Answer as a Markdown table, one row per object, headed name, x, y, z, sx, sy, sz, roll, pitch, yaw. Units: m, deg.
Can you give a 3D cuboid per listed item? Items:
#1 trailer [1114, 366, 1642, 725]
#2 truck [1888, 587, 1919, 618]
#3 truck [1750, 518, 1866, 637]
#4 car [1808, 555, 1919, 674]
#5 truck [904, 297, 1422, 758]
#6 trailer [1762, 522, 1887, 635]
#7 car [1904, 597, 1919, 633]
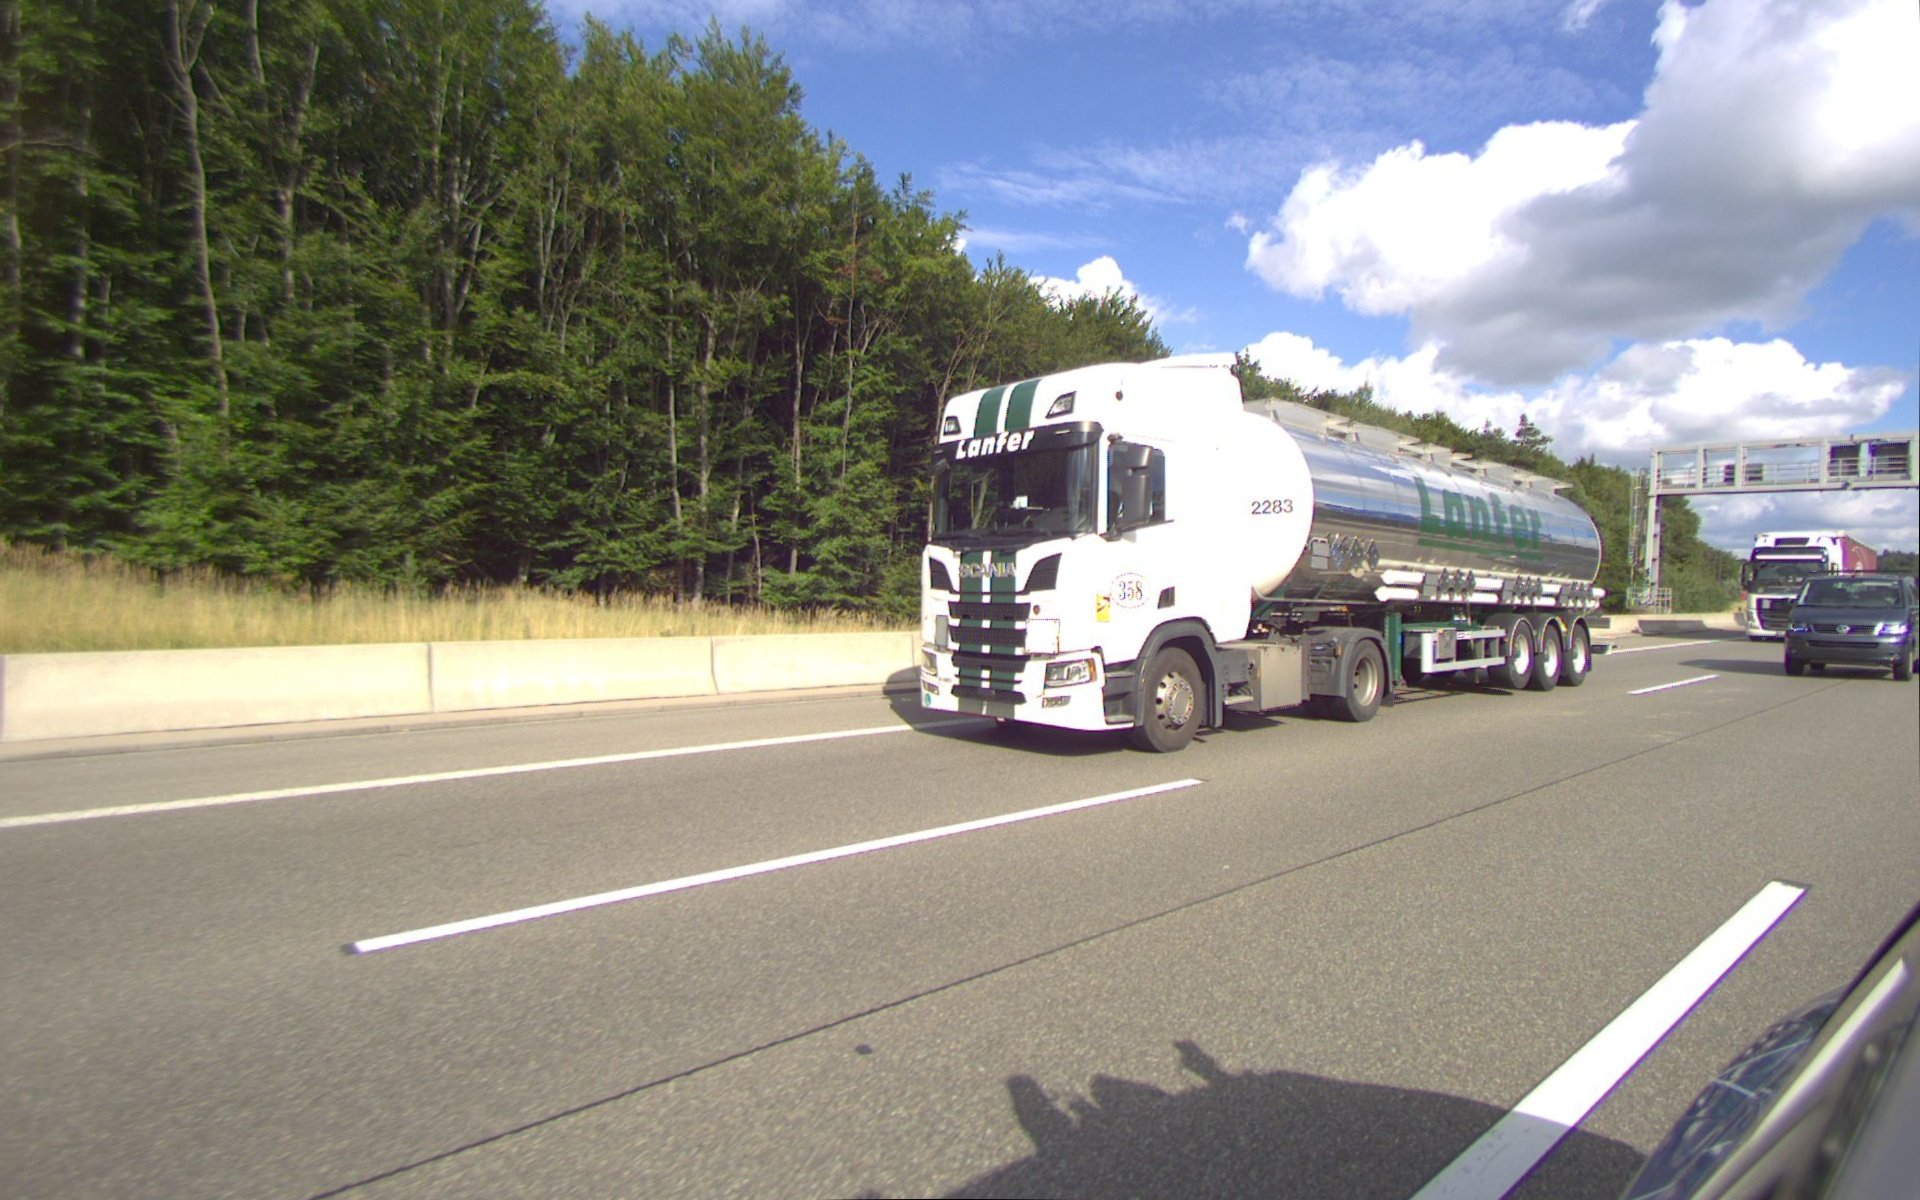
| name | x | y | z | sx | sy | sz | roll | pitch | yaw |
| --- | --- | --- | --- | --- | --- | --- | --- | --- | --- |
| trailer | 7.194 | -0.588 | 15.620 | 11.653 | 3.814 | 2.653 | 0 | 1 | -42 |
| truck | 119.181 | 0.351 | 127.600 | 3.008 | 3.730 | 7.448 | 2 | 1 | 41 |
| truck | 31.631 | -0.780 | 37.682 | 5.678 | 4.096 | 2.776 | 0 | 0 | -44 |
| car | 18.628 | 0.247 | 20.417 | 4.851 | 2.136 | 1.850 | 0 | 0 | -44 |
| truck | 2.550 | -0.629 | 11.481 | 5.976 | 3.871 | 2.653 | 0 | 1 | -41 |
| trailer | 36.456 | -0.774 | 42.396 | 13.487 | 4.096 | 2.776 | 0 | 0 | -44 |
| car | 41.470 | 0.604 | 42.832 | 2.147 | 1.452 | 5.018 | 0 | 0 | 44 |
